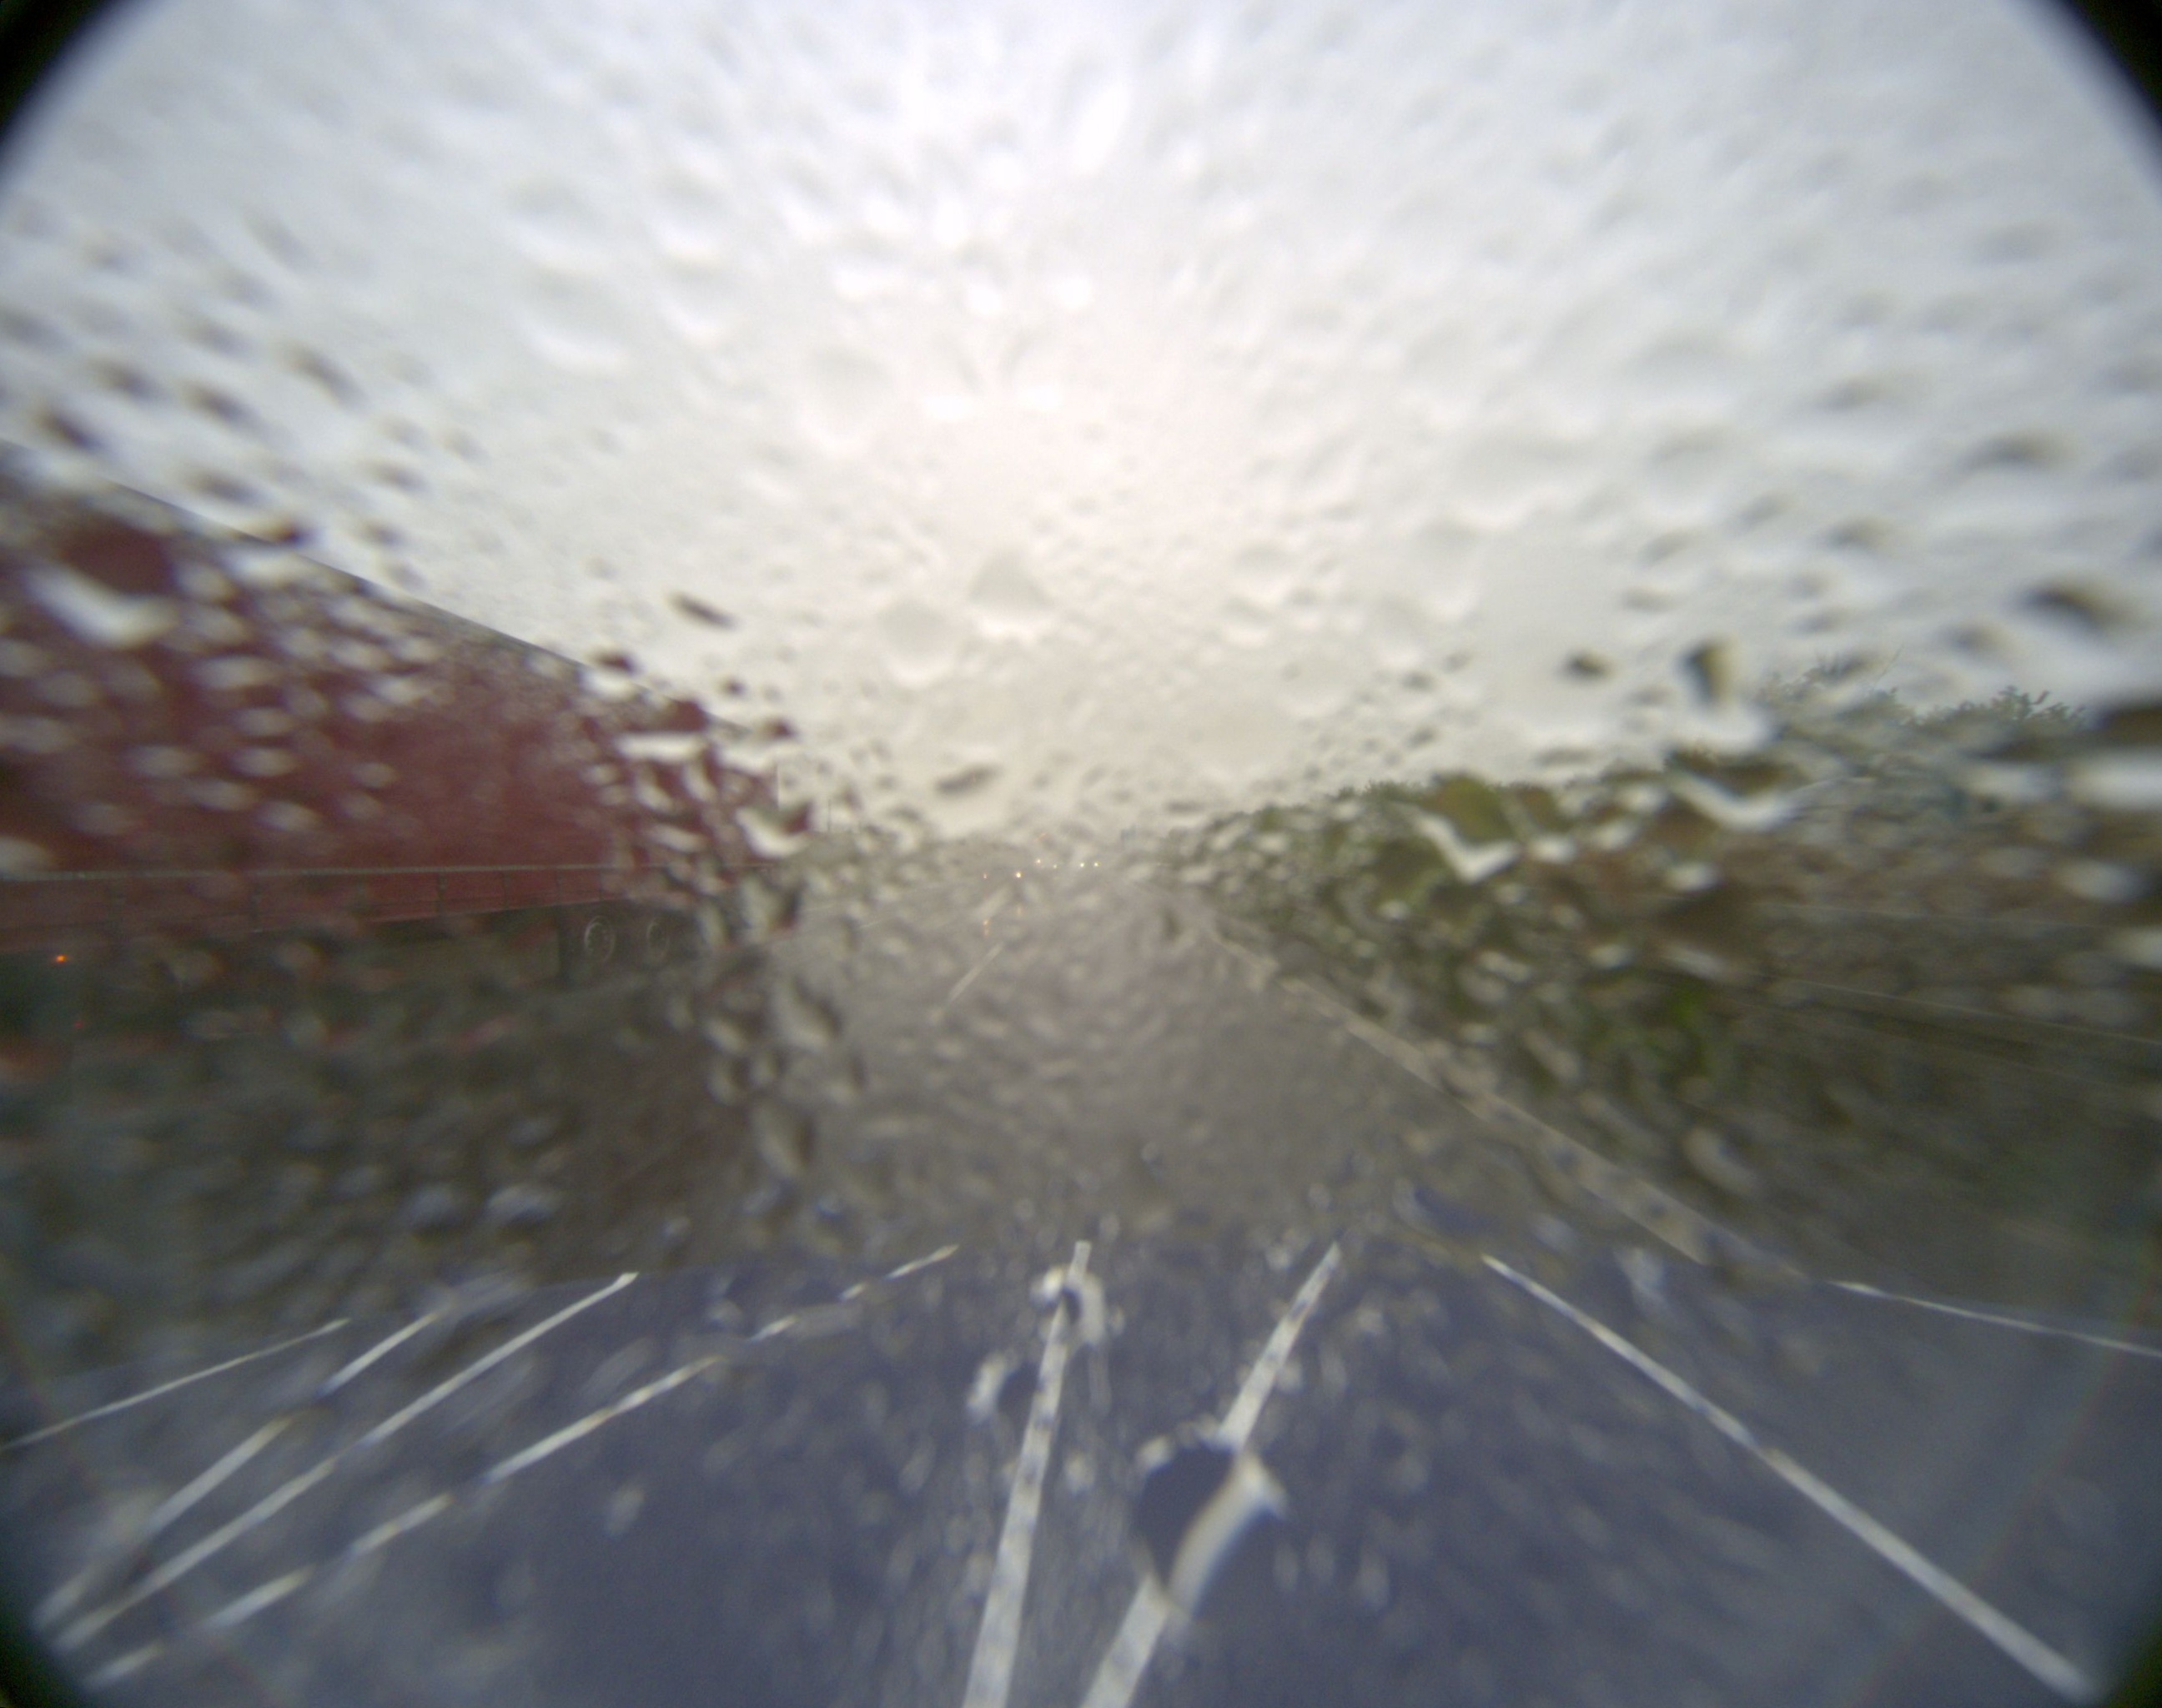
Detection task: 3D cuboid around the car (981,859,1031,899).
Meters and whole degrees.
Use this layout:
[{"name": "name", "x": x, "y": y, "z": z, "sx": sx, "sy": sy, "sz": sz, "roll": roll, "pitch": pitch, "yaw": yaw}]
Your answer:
[{"name": "car", "x": -3.101, "y": 0.999, "z": 31.999, "sx": 1.663, "sy": 1.491, "sz": 3.836, "roll": -2, "pitch": 1, "yaw": 1}]

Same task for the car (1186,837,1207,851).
[{"name": "car", "x": 21.328, "y": -1.783, "z": 140.208, "sx": 3.077, "sy": 2.375, "sz": 5.836, "roll": -2, "pitch": 1, "yaw": 1}]

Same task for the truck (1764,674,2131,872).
[{"name": "truck", "x": 19.364, "y": -1.595, "z": 17.542, "sx": 2.323, "sy": 3.783, "sz": 5.399, "roll": -2, "pitch": 1, "yaw": 1}]

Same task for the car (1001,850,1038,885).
[{"name": "car", "x": -3.024, "y": 0.611, "z": 37.733, "sx": 1.517, "sy": 1.607, "sz": 3.186, "roll": -2, "pitch": 1, "yaw": -1}]

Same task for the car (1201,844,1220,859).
[{"name": "car", "x": 16.927, "y": -0.367, "z": 99.453, "sx": 1.833, "sy": 1.912, "sz": 4.367, "roll": -2, "pitch": 1, "yaw": 1}]

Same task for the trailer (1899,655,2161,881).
[{"name": "trailer", "x": 19.201, "y": -1.444, "z": 10.032, "sx": 2.301, "sy": 3.782, "sz": 13.610, "roll": -2, "pitch": 1, "yaw": 1}]

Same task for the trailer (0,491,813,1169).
[{"name": "trailer", "x": -7.219, "y": -0.147, "z": 8.481, "sx": 2.486, "sy": 3.744, "sz": 16.541, "roll": -2, "pitch": 1, "yaw": 0}]

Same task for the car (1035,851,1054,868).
[{"name": "car", "x": -3.864, "y": 0.572, "z": 81.027, "sx": 1.845, "sy": 1.671, "sz": 3.999, "roll": -2, "pitch": 1, "yaw": 0}]

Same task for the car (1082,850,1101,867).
[{"name": "car", "x": 1.068, "y": 0.426, "z": 80.398, "sx": 1.845, "sy": 1.671, "sz": 3.999, "roll": -2, "pitch": 1, "yaw": 0}]
